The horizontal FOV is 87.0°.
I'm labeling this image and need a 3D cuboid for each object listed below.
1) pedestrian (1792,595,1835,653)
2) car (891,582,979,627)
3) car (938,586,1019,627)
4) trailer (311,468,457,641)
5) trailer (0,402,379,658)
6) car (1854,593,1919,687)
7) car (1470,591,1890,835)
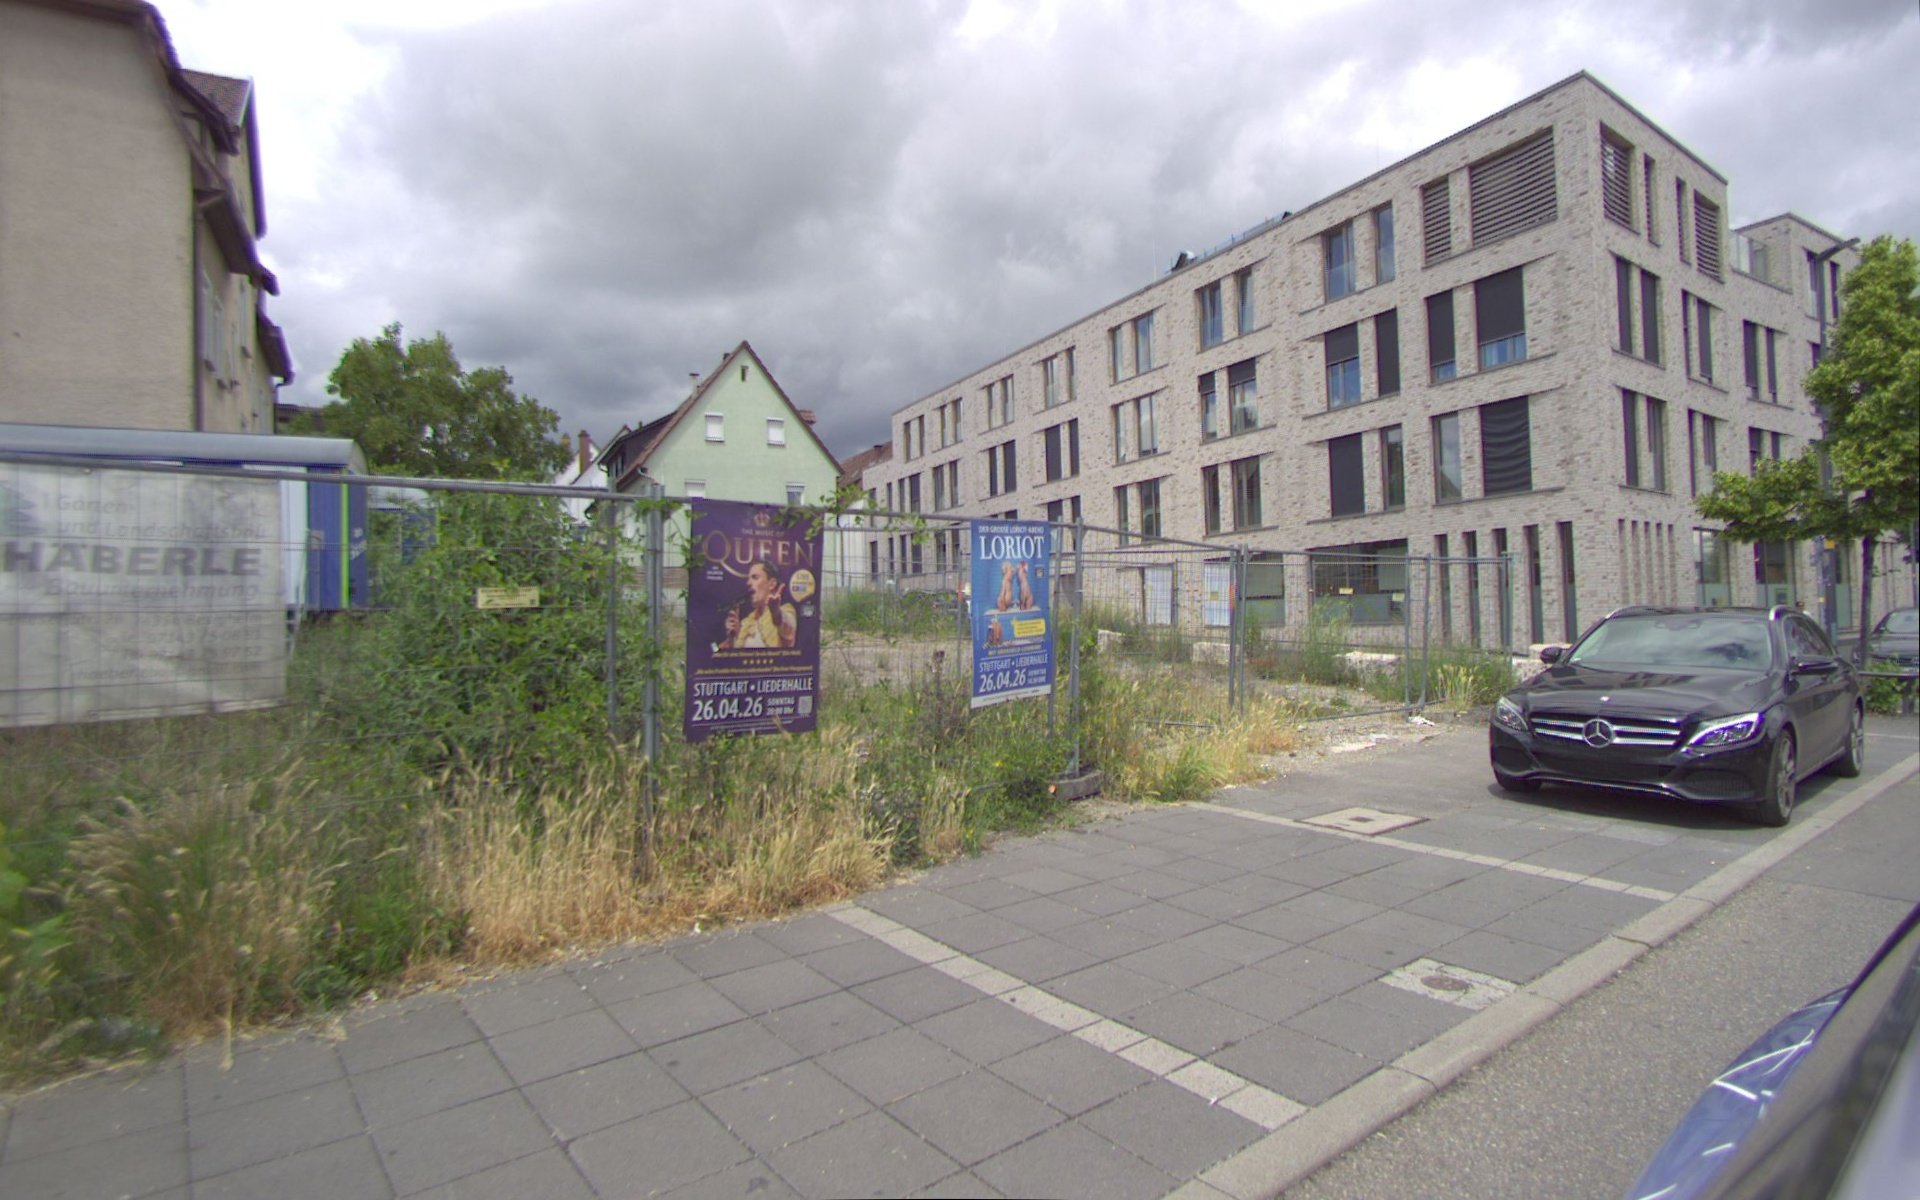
[{"bbox_3d":[22.374,0.616,26.535,0.775,1.491,0.609,0,-1,-31],"label":"pedestrian"},{"bbox_3d":[-1.017,0.138,38.464,1.830,1.626,4.269,0,1,-25],"label":"car"},{"bbox_3d":[0.763,0.248,45.724,1.830,1.626,4.269,3,0,-26],"label":"car"},{"bbox_3d":[-12.260,-0.820,21.753,2.363,3.162,6.167,-1,0,-28],"label":"trailer"},{"bbox_3d":[-11.579,-0.871,13.918,6.033,3.162,2.416,-1,0,-25],"label":"trailer"},{"bbox_3d":[17.118,0.628,17.394,4.560,1.469,1.869,-1,0,-39],"label":"car"},{"bbox_3d":[6.026,0.676,8.254,4.397,1.470,1.785,-1,0,-41],"label":"car"}]
